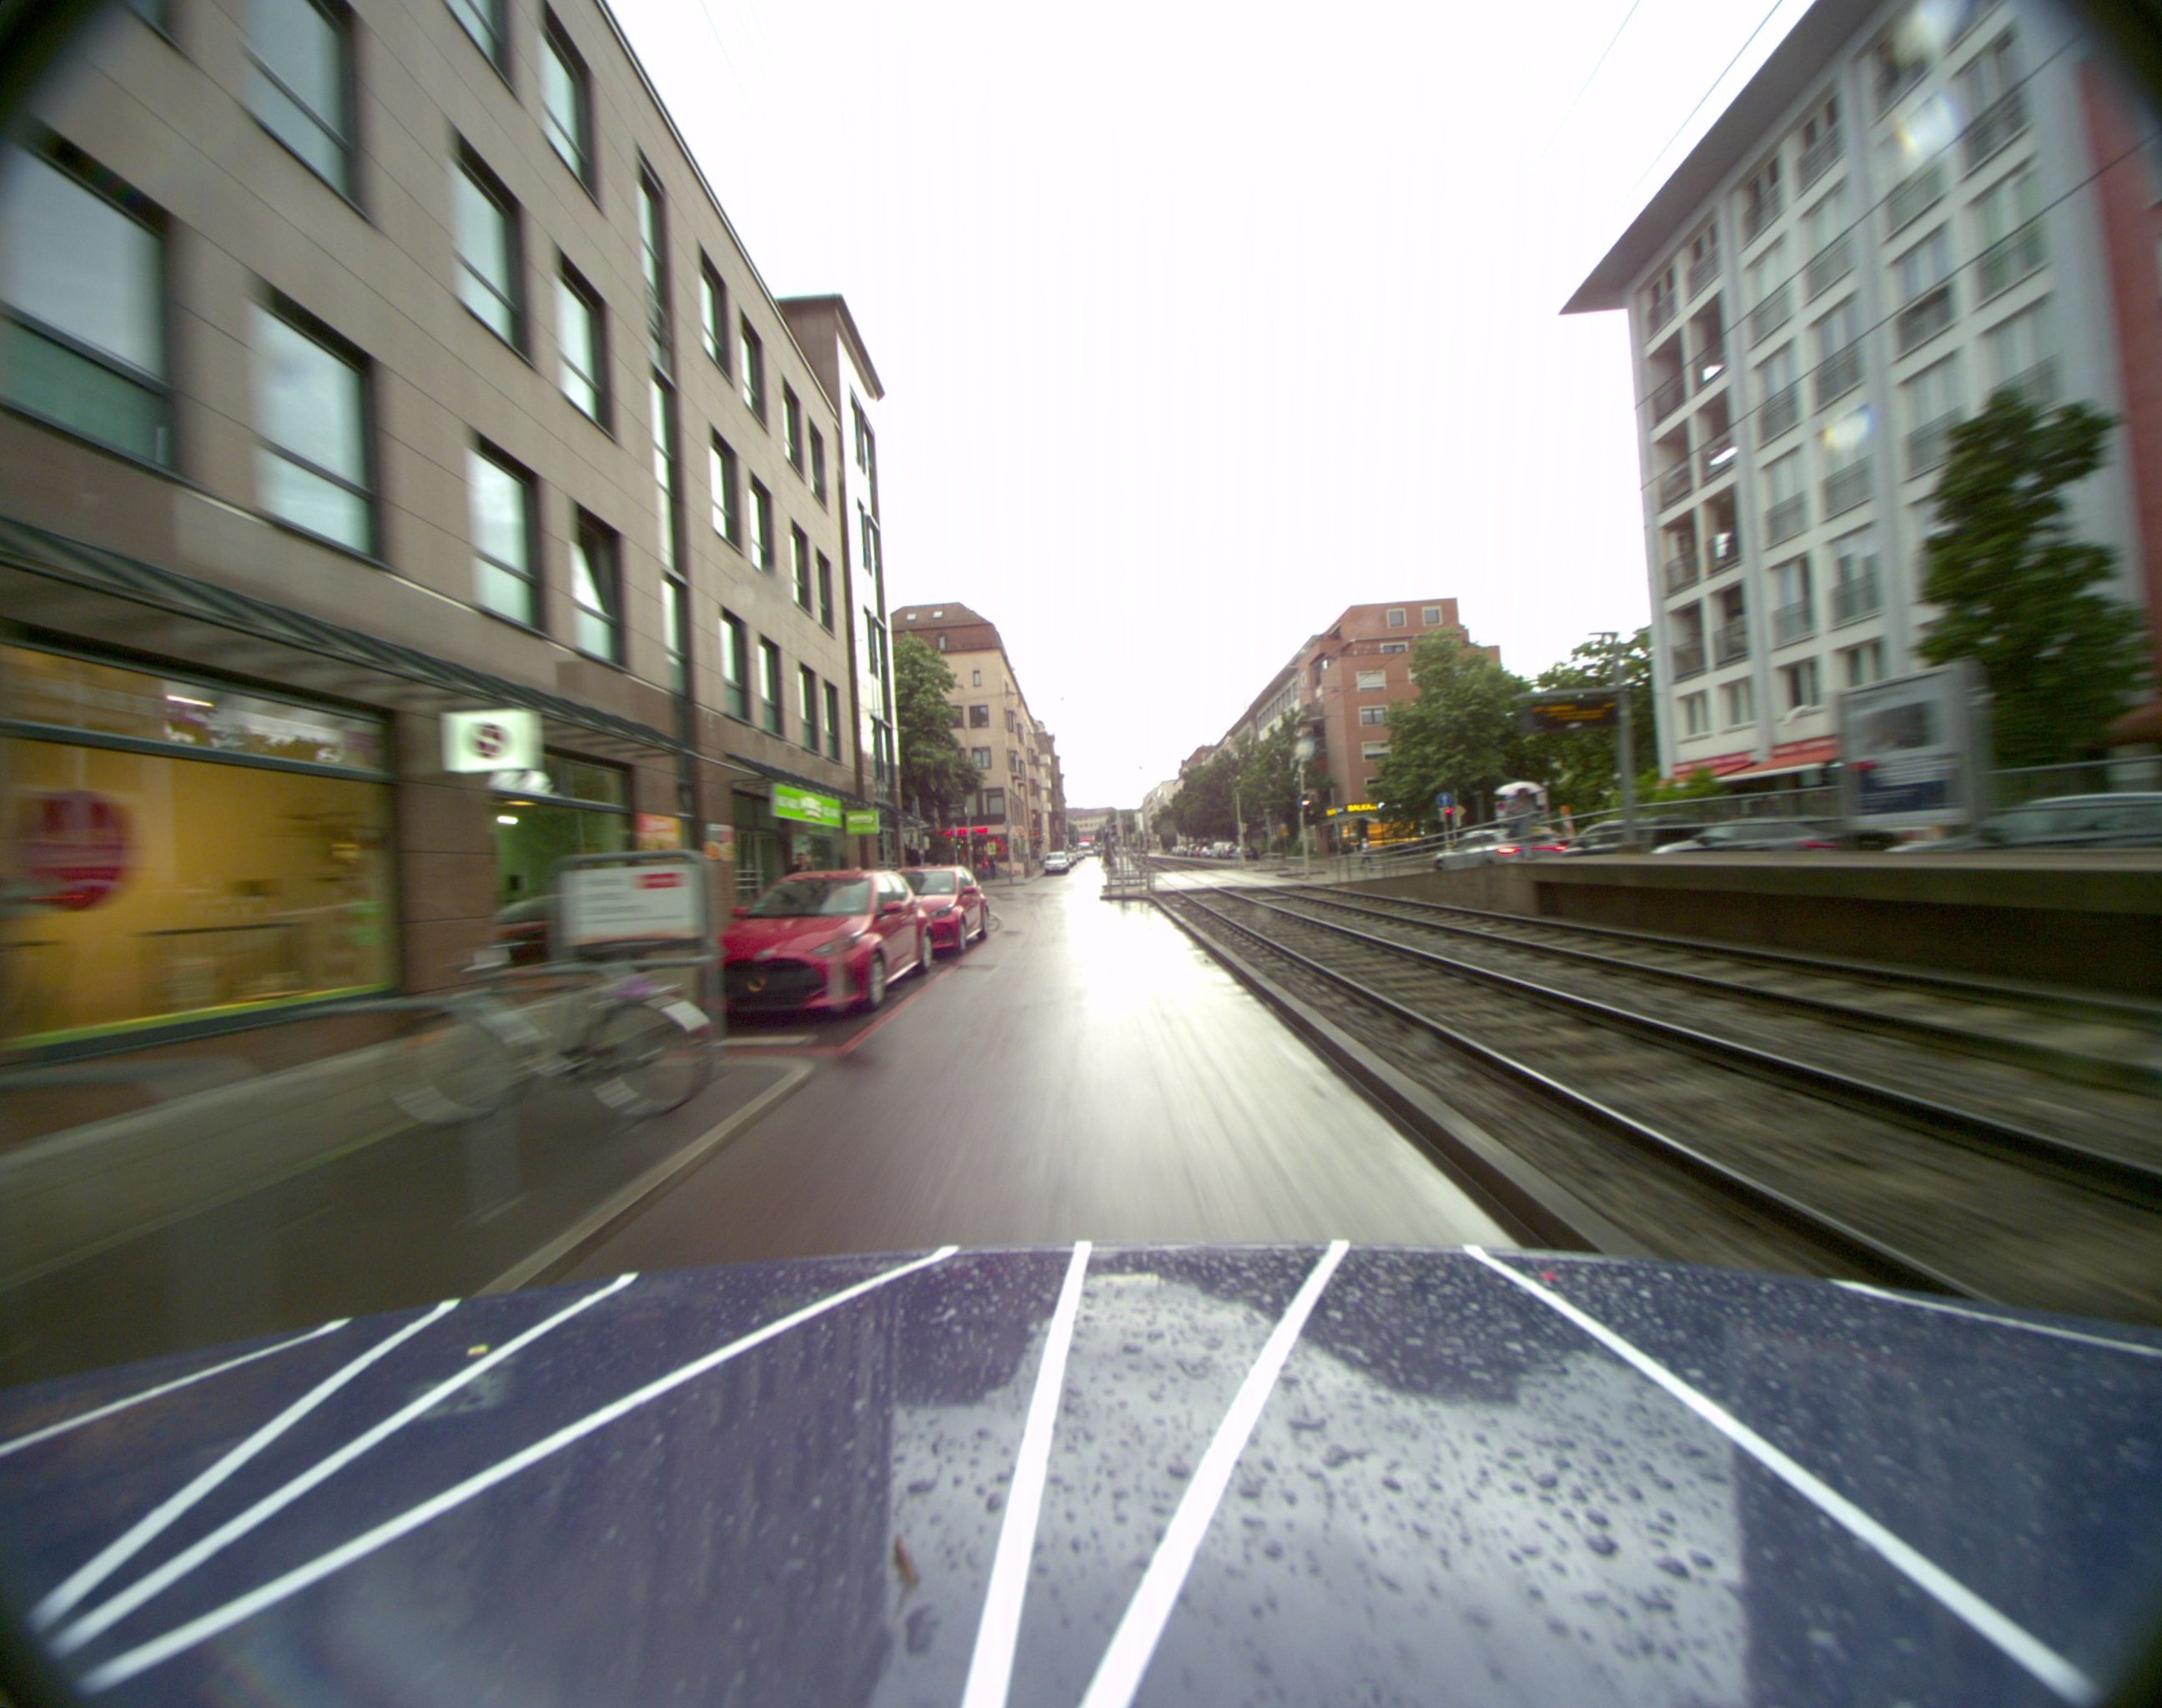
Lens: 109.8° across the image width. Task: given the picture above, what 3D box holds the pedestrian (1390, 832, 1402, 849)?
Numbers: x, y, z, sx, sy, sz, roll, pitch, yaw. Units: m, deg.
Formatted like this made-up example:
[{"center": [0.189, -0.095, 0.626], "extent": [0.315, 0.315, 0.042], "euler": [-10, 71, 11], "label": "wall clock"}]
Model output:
[{"center": [23.232, -0.980, 56.015], "extent": [0.677, 1.171, 0.608], "euler": [-3, 1, 7], "label": "pedestrian"}]

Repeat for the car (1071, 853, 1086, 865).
[{"center": [-0.295, 0.686, 100.573], "extent": [1.720, 1.454, 3.444], "euler": [-3, 1, 2], "label": "car"}]

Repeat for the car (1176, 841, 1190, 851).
[{"center": [16.131, -1.320, 120.128], "extent": [1.642, 1.529, 4.022], "euler": [-3, 1, 2], "label": "car"}]

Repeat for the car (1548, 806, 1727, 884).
[{"center": [15.265, -0.239, 21.173], "extent": [1.711, 1.847, 4.320], "euler": [-3, 1, -1], "label": "car"}]

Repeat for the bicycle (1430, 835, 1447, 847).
[{"center": [24.387, -0.879, 51.849], "extent": [0.340, 0.811, 1.646], "euler": [-3, 1, 1], "label": "bicycle"}]

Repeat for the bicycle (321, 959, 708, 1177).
[{"center": [-3.158, 1.186, 4.319], "extent": [1.791, 1.025, 0.462], "euler": [-3, 1, 0], "label": "bicycle"}]

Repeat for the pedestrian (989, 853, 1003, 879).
[{"center": [-6.103, 0.847, 54.355], "extent": [0.665, 1.809, 0.597], "euler": [-2, 2, 42], "label": "pedestrian"}]

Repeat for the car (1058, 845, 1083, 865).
[{"center": [-0.918, 0.082, 67.845], "extent": [1.911, 1.606, 4.413], "euler": [-3, 1, 2], "label": "car"}]

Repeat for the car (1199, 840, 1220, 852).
[{"center": [16.156, -1.030, 95.504], "extent": [1.696, 1.454, 4.529], "euler": [-3, 1, -2], "label": "car"}]

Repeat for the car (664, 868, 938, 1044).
[{"center": [-2.943, 0.983, 8.943], "extent": [1.703, 1.454, 3.866], "euler": [-1, 1, 1], "label": "car"}]

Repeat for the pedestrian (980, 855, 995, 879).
[{"center": [-6.561, 0.936, 53.289], "extent": [0.723, 1.640, 0.627], "euler": [-2, 2, 42], "label": "pedestrian"}]

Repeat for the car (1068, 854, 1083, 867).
[{"center": [-0.635, 0.767, 94.797], "extent": [1.649, 1.454, 3.413], "euler": [-3, 1, 2], "label": "car"}]

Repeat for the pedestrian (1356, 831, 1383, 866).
[{"center": [14.643, -0.295, 38.623], "extent": [0.821, 1.687, 0.985], "euler": [-5, 1, -7], "label": "pedestrian"}]

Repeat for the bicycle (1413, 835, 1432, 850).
[{"center": [23.334, -0.789, 51.980], "extent": [0.481, 0.953, 1.873], "euler": [-3, 1, 1], "label": "bicycle"}]

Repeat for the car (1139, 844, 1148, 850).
[{"center": [14.974, -1.713, 182.913], "extent": [1.696, 1.454, 4.529], "euler": [-3, 1, -2], "label": "car"}]

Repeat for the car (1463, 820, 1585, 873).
[{"center": [15.363, -0.238, 26.650], "extent": [1.730, 1.602, 4.553], "euler": [-3, 0, 3], "label": "car"}]

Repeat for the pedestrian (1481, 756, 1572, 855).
[{"center": [9.645, -1.016, 16.531], "extent": [1.119, 2.002, 1.383], "euler": [-3, 1, 1], "label": "pedestrian"}]

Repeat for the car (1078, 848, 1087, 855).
[{"center": [0.348, -0.473, 146.507], "extent": [1.588, 1.343, 3.977], "euler": [-3, 1, 0], "label": "car"}]

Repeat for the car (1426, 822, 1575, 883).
[{"center": [12.482, -0.065, 23.042], "extent": [1.811, 1.569, 5.021], "euler": [-3, 0, 2], "label": "car"}]

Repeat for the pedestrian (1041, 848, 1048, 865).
[{"center": [-3.859, 0.254, 80.062], "extent": [0.530, 1.848, 0.556], "euler": [-3, 2, -6], "label": "pedestrian"}]

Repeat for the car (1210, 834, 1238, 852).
[{"center": [16.224, -1.228, 86.326], "extent": [1.912, 1.834, 5.255], "euler": [-3, 1, -3], "label": "car"}]

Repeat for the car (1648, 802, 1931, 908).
[{"center": [14.606, -0.003, 16.088], "extent": [1.807, 1.847, 4.379], "euler": [-3, 1, -1], "label": "car"}]

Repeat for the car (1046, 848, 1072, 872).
[{"center": [-1.783, 0.464, 62.387], "extent": [1.911, 1.796, 4.776], "euler": [-3, 1, 0], "label": "car"}]

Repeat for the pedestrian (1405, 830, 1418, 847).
[{"center": [24.609, -1.156, 56.566], "extent": [0.679, 1.171, 0.607], "euler": [-4, 1, -31], "label": "pedestrian"}]

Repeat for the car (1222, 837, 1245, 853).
[{"center": [16.090, -0.969, 80.187], "extent": [1.642, 1.527, 4.370], "euler": [-3, 1, 2], "label": "car"}]

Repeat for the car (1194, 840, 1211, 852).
[{"center": [16.563, -1.133, 103.533], "extent": [1.643, 1.530, 3.803], "euler": [-3, 1, 0], "label": "car"}]

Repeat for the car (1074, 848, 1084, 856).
[{"center": [-0.380, -0.342, 129.320], "extent": [1.628, 1.343, 3.828], "euler": [-3, 1, 0], "label": "car"}]

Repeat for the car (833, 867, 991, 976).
[{"center": [-2.757, 1.043, 13.324], "extent": [1.702, 1.471, 3.867], "euler": [-1, 1, 3], "label": "car"}]

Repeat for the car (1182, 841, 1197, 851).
[{"center": [16.365, -1.175, 114.808], "extent": [1.643, 1.432, 4.729], "euler": [-3, 1, 0], "label": "car"}]

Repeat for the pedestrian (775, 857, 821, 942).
[{"center": [-5.777, 0.914, 15.534], "extent": [0.603, 1.650, 0.625], "euler": [-3, 2, 2], "label": "pedestrian"}]

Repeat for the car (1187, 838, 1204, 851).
[{"center": [16.374, -1.362, 109.201], "extent": [1.678, 1.807, 4.431], "euler": [-3, 1, 0], "label": "car"}]

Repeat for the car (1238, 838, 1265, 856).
[{"center": [16.610, -0.697, 74.099], "extent": [1.642, 1.614, 4.370], "euler": [-3, 1, 2], "label": "car"}]

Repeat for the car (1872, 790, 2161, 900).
[{"center": [14.847, -0.168, 11.169], "extent": [1.846, 1.428, 4.318], "euler": [-3, 0, -2], "label": "car"}]

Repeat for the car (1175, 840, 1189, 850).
[{"center": [16.721, -1.465, 126.288], "extent": [1.662, 1.575, 4.337], "euler": [-3, 1, 0], "label": "car"}]

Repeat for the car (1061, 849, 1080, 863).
[{"center": [-1.175, 0.197, 85.767], "extent": [1.911, 1.454, 4.244], "euler": [-3, 1, 1], "label": "car"}]

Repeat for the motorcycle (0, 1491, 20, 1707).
[{"center": [-3.209, 1.004, 1.427], "extent": [2.086, 1.399, 0.800], "euler": [-2, 1, 20], "label": "motorcycle"}]
